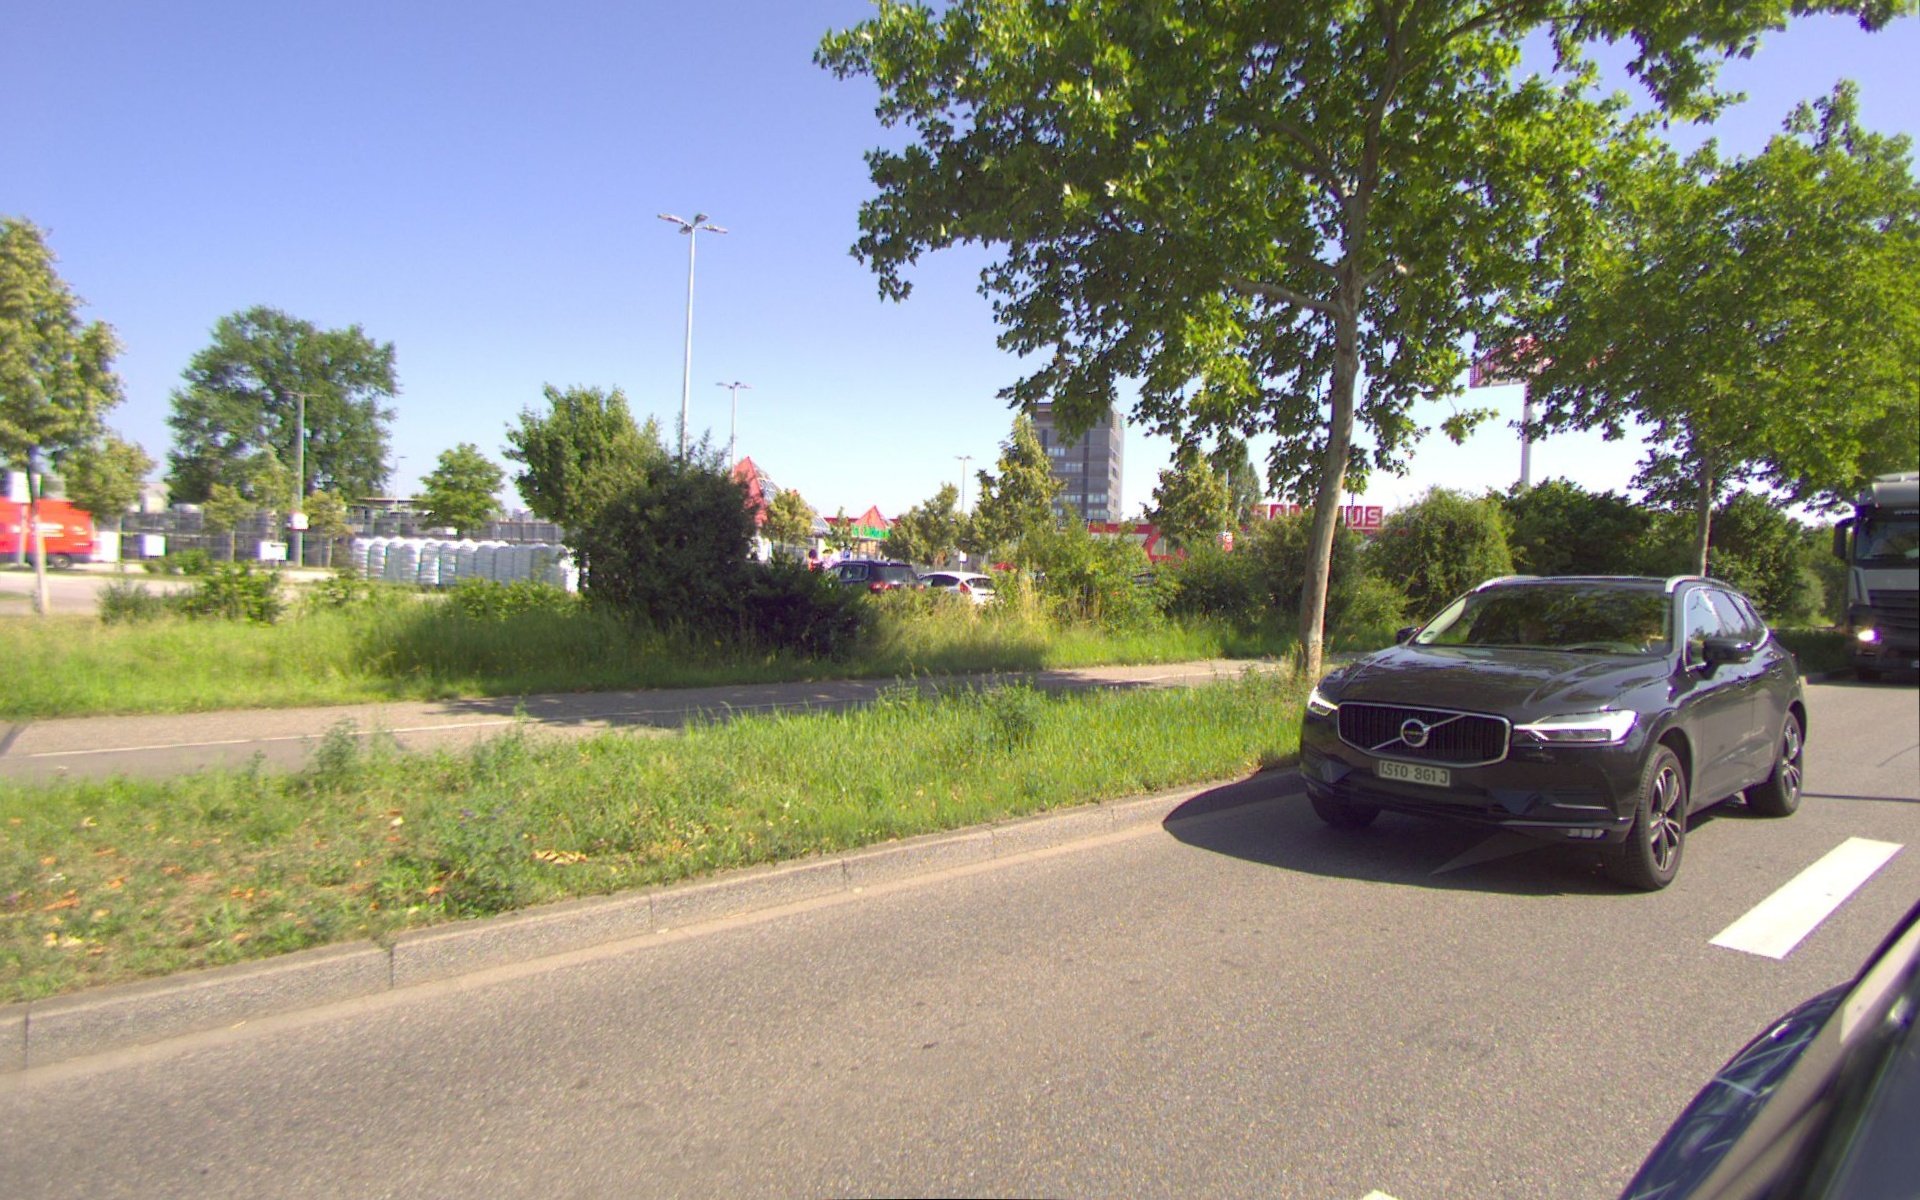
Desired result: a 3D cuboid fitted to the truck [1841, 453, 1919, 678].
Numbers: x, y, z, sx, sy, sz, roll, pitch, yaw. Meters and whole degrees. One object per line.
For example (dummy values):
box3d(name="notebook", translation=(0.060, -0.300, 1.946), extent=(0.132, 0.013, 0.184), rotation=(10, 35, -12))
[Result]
box3d(name="truck", translation=(20.364, -0.638, 20.102), extent=(8.564, 3.938, 2.737), rotation=(-1, 2, -38))

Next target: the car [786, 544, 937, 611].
box3d(name="car", translation=(-2.641, -0.561, 26.475), extent=(1.850, 1.611, 4.075), rotation=(-1, 0, -43))

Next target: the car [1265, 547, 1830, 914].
box3d(name="car", translation=(4.025, 0.546, 6.591), extent=(4.356, 1.611, 1.878), rotation=(-1, 0, -41))

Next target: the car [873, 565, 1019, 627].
box3d(name="car", translation=(-0.449, -0.128, 28.424), extent=(1.850, 1.611, 4.075), rotation=(-1, 0, -43))

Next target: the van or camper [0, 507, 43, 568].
box3d(name="van or camper", translation=(-48.839, -3.109, 48.600), extent=(1.971, 2.979, 7.253), rotation=(0, 0, 15))

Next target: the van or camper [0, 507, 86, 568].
box3d(name="van or camper", translation=(-45.409, -2.943, 47.188), extent=(1.971, 2.739, 7.253), rotation=(0, 0, 15))
